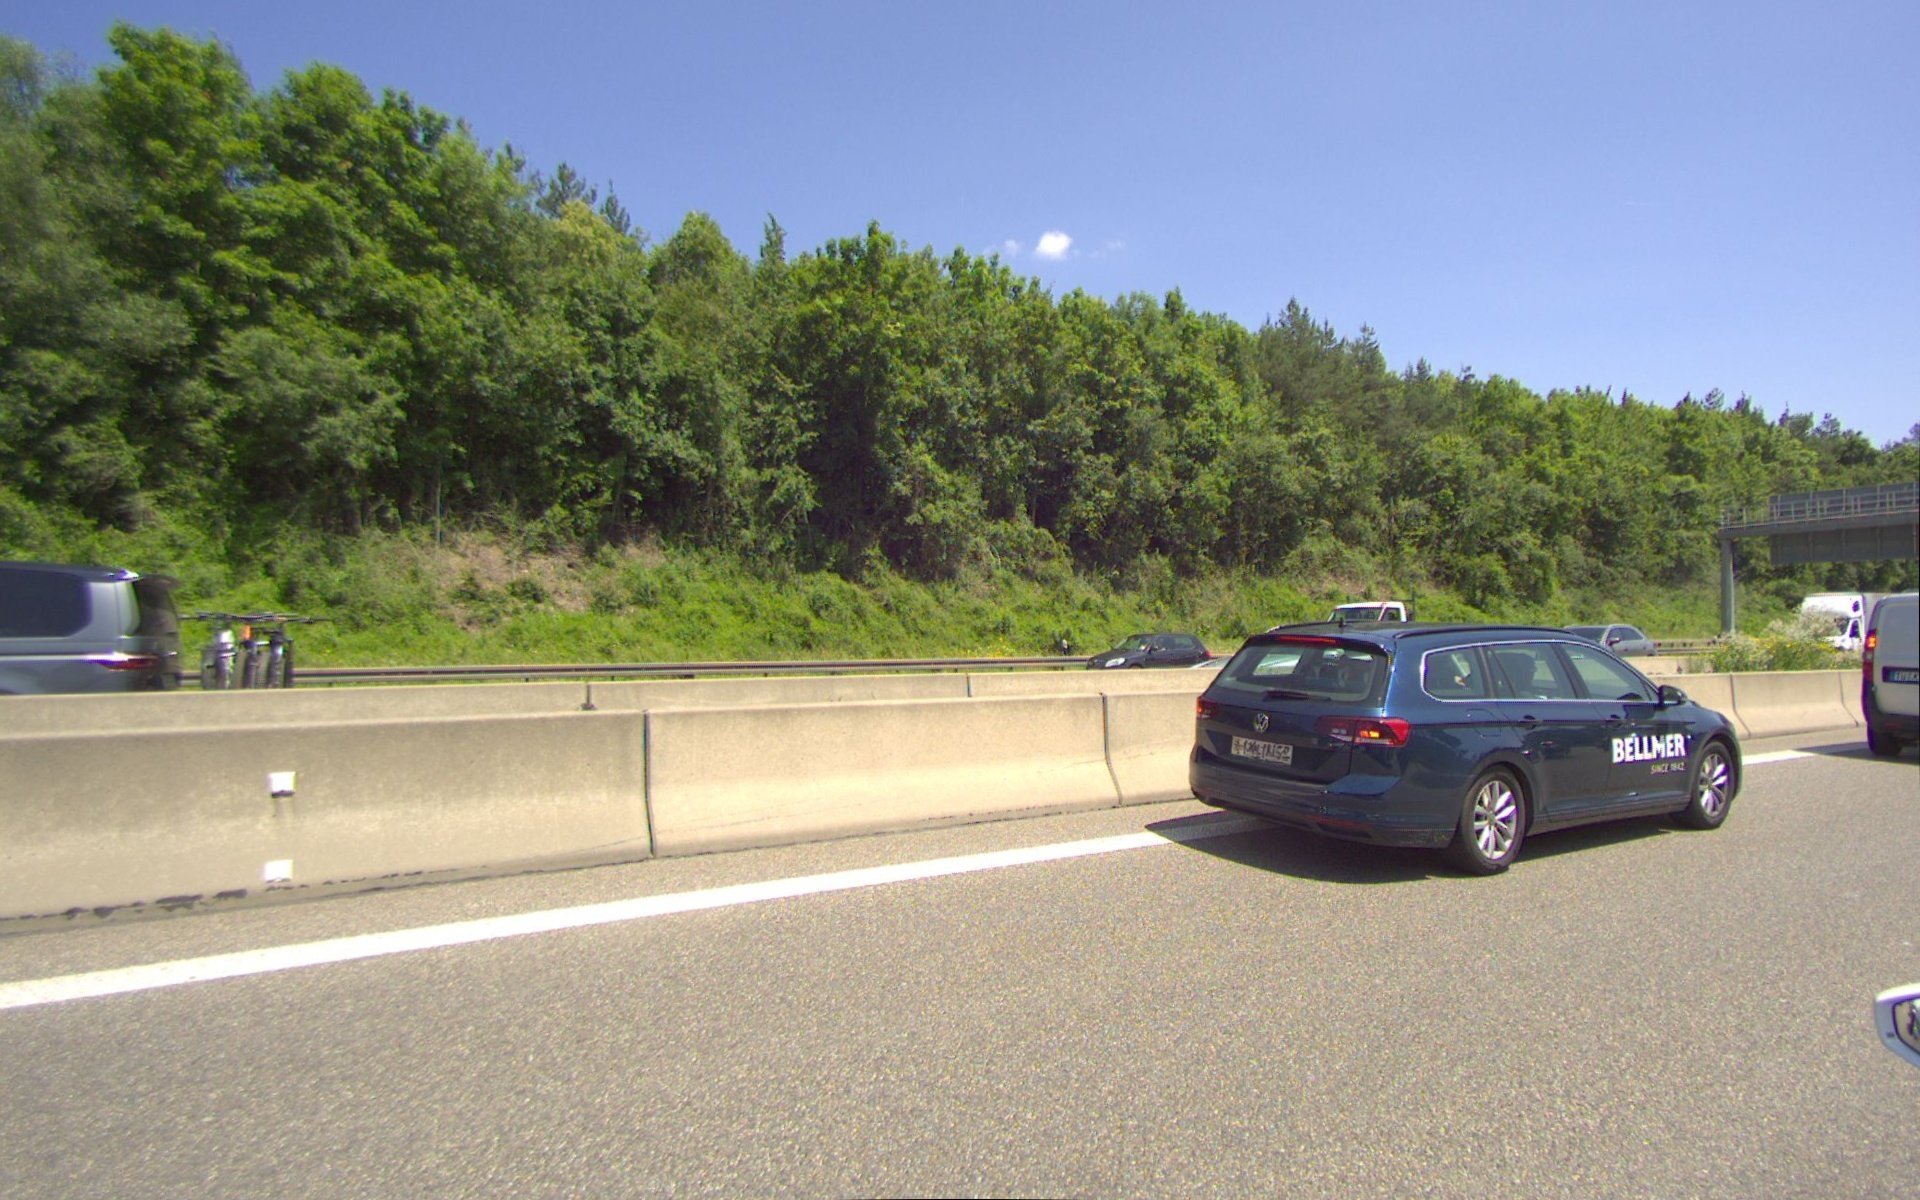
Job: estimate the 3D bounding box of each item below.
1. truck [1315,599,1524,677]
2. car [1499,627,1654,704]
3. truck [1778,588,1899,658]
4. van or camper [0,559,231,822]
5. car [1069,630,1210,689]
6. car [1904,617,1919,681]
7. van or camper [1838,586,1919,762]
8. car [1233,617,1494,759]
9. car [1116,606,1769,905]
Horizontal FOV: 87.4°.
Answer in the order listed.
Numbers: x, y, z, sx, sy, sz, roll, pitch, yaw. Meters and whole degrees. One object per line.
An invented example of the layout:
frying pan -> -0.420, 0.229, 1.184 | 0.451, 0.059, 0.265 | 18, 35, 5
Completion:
truck -> 13.368, 1.123, 29.074 | 6.421, 2.040, 2.338 | 2, -1, -32
car -> 16.480, 1.735, 26.800 | 4.245, 1.862, 1.775 | 2, -1, -31
truck -> 39.371, 1.076, 44.965 | 6.667, 2.923, 2.166 | 2, -1, -32
van or camper -> -9.023, 0.650, 8.030 | 4.868, 2.040, 1.985 | 2, -1, -29
car -> 5.061, 1.661, 28.252 | 3.505, 1.504, 1.919 | 2, -1, -33
car -> 24.785, 1.187, 24.364 | 3.955, 1.514, 1.815 | 1, -1, -32
van or camper -> 12.448, 0.826, 11.864 | 4.509, 1.905, 1.843 | 1, 0, -31
car -> 6.682, 1.369, 16.577 | 3.953, 2.040, 1.984 | 2, -1, -30
car -> 3.487, 0.845, 7.001 | 4.624, 1.469, 1.865 | 2, -1, -31
